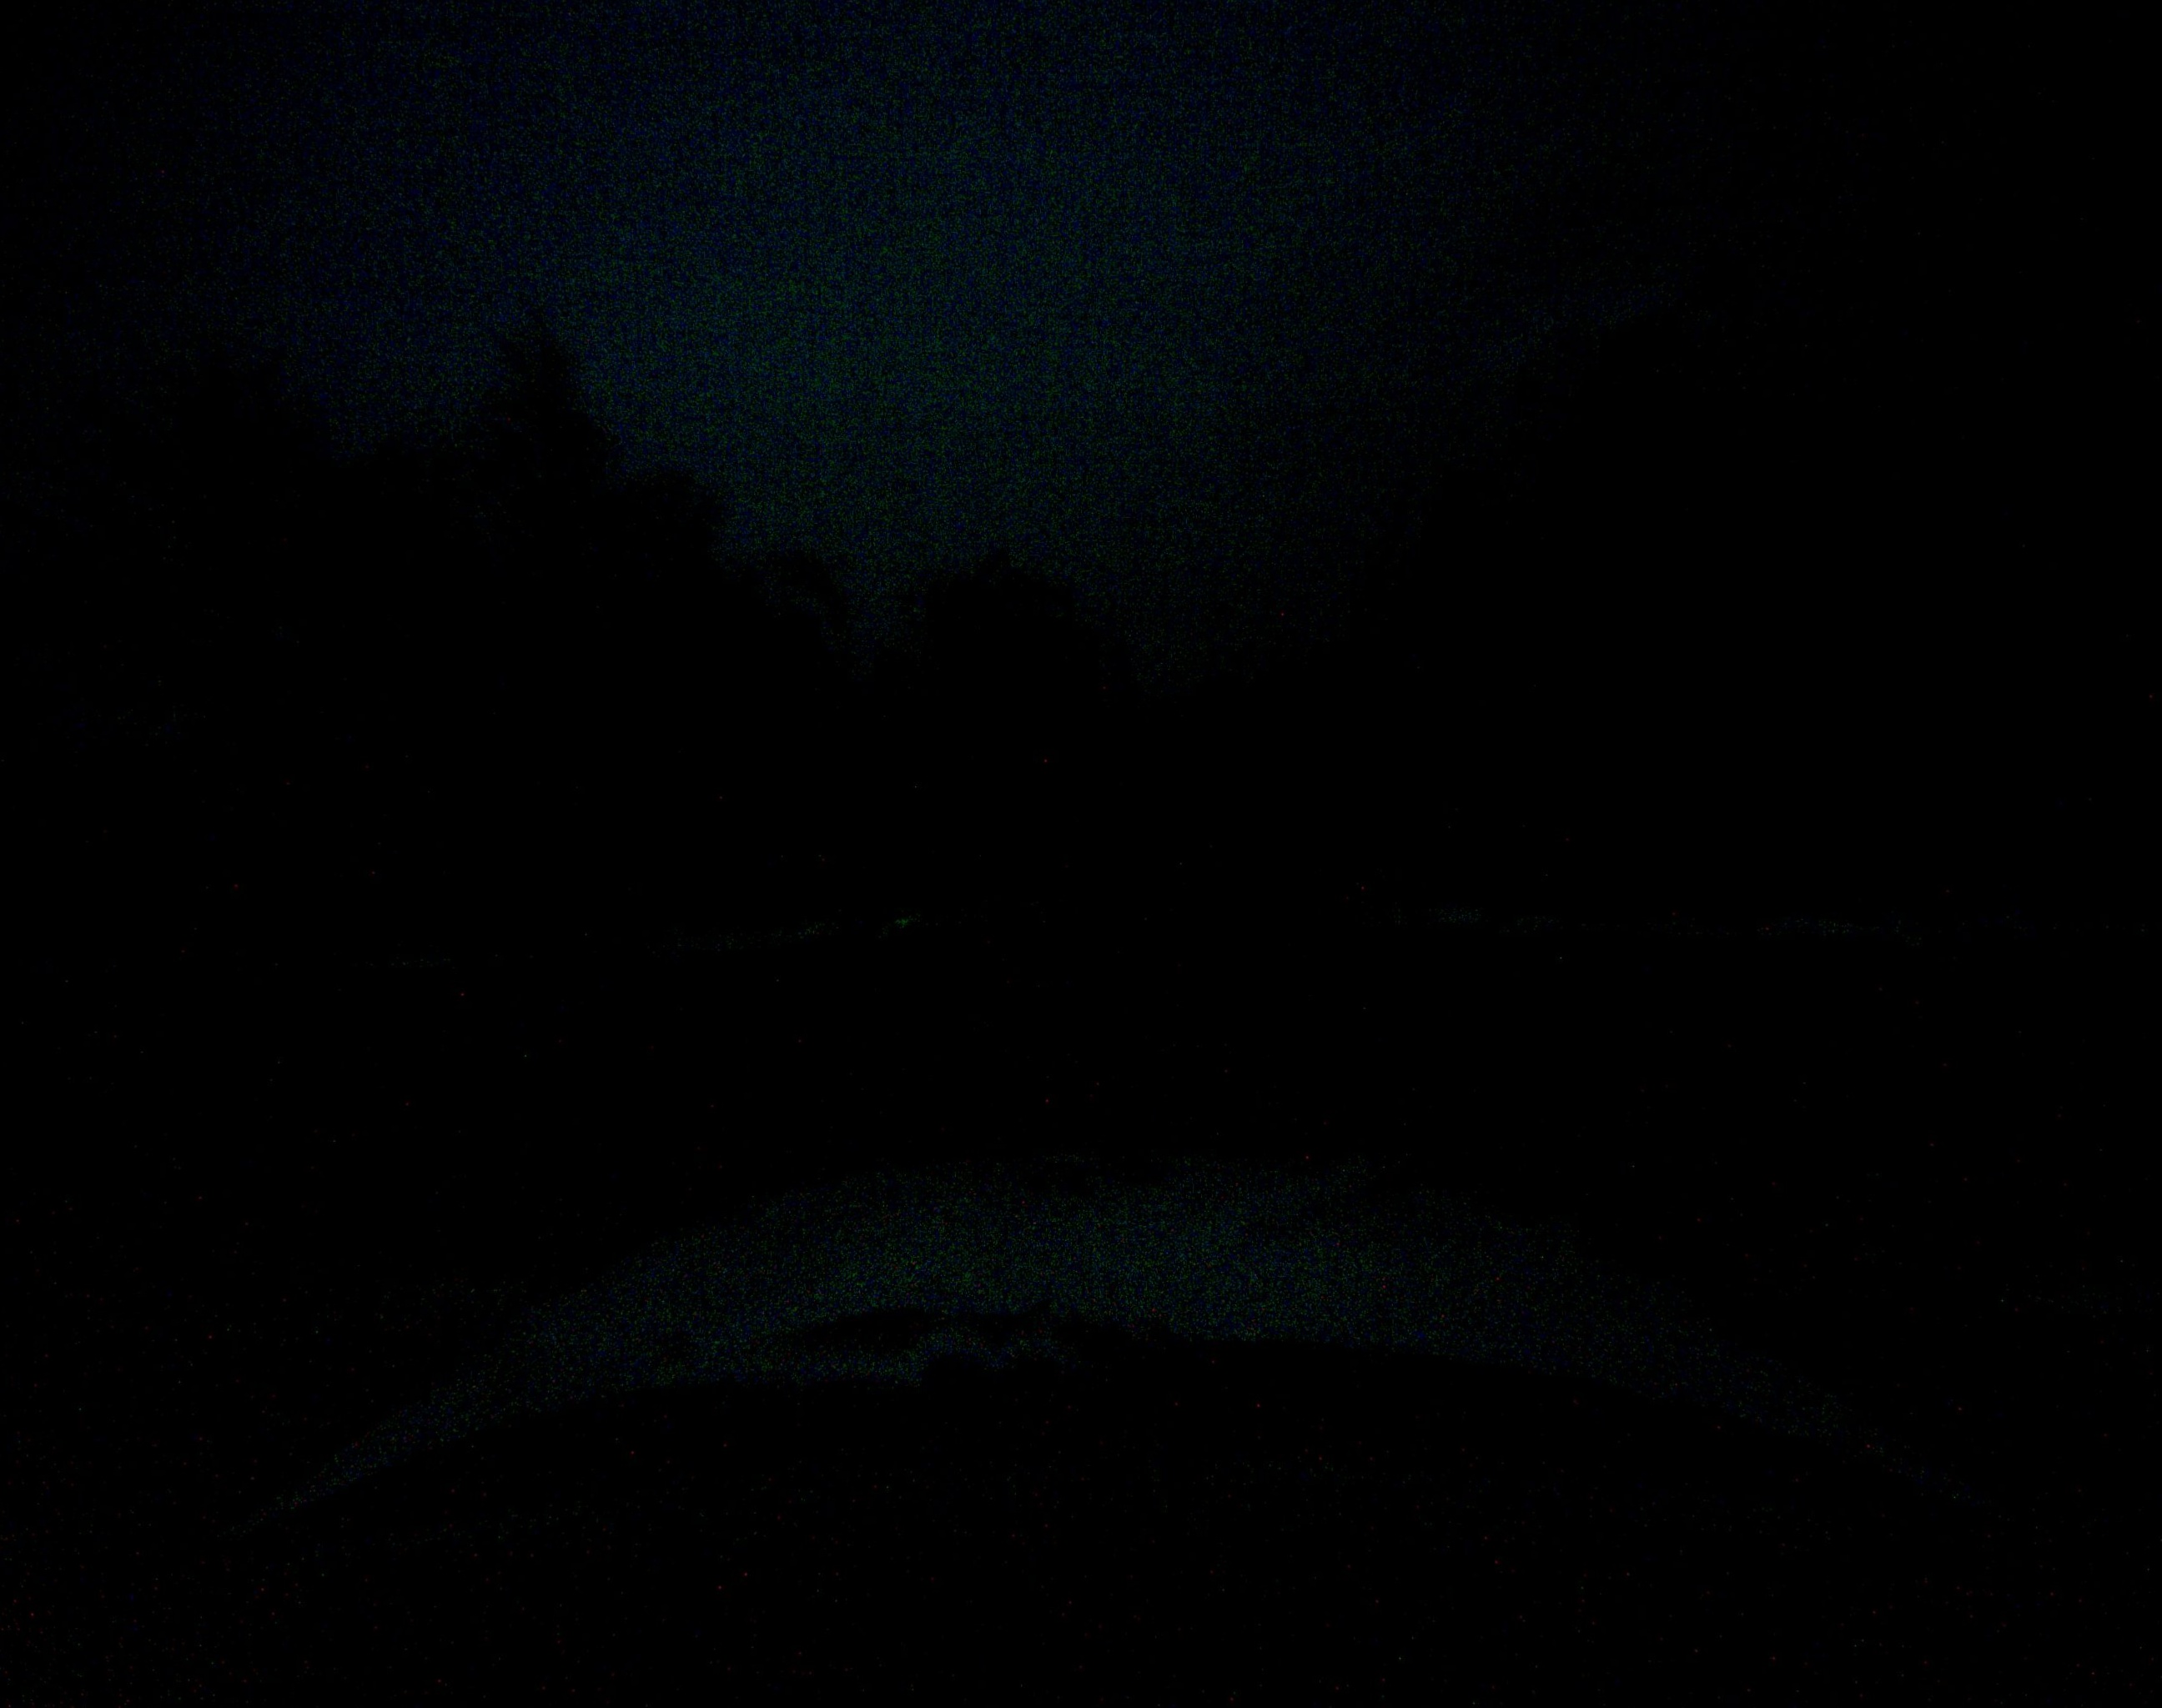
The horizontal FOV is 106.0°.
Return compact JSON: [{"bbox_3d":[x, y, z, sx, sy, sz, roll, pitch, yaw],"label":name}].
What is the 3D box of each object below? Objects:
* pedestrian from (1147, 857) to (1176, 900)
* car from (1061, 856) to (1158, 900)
[{"bbox_3d":[3.476,1.065,35.261,0.951,1.828,0.930,-1,-2,28],"label":"pedestrian"},{"bbox_3d":[1.284,1.093,36.770,3.912,1.881,2.011,-1,-2,23],"label":"car"}]
